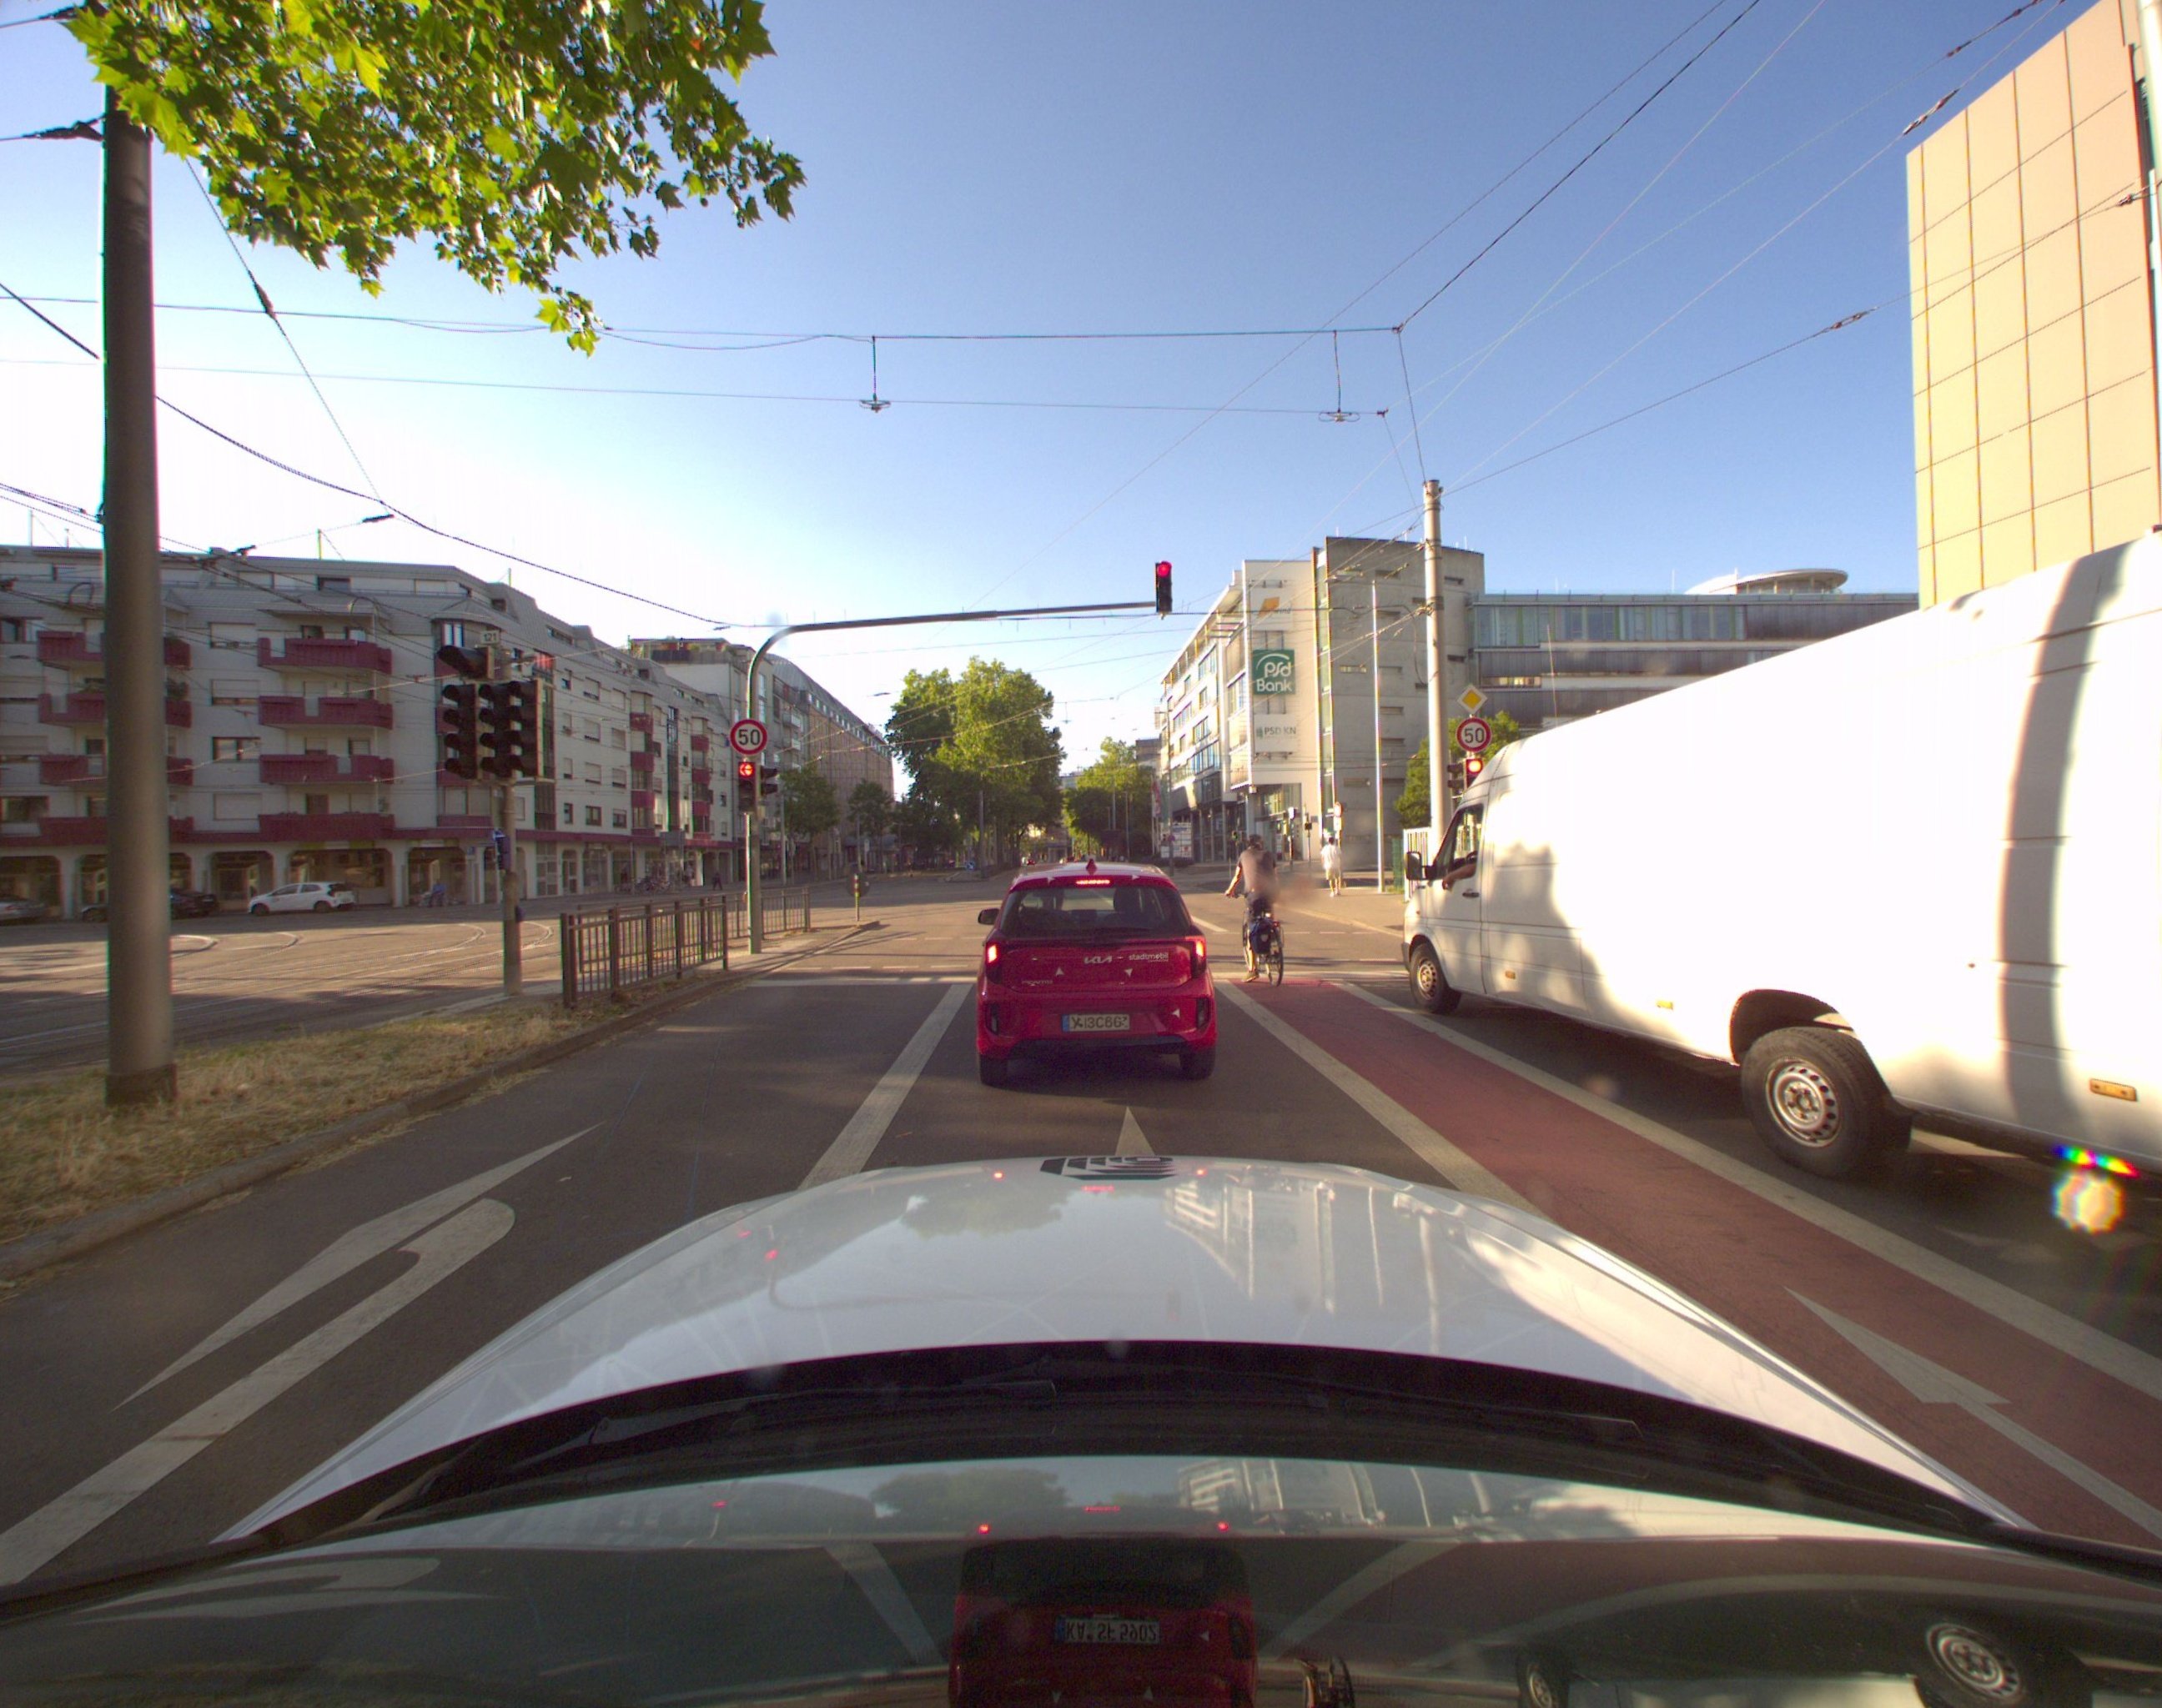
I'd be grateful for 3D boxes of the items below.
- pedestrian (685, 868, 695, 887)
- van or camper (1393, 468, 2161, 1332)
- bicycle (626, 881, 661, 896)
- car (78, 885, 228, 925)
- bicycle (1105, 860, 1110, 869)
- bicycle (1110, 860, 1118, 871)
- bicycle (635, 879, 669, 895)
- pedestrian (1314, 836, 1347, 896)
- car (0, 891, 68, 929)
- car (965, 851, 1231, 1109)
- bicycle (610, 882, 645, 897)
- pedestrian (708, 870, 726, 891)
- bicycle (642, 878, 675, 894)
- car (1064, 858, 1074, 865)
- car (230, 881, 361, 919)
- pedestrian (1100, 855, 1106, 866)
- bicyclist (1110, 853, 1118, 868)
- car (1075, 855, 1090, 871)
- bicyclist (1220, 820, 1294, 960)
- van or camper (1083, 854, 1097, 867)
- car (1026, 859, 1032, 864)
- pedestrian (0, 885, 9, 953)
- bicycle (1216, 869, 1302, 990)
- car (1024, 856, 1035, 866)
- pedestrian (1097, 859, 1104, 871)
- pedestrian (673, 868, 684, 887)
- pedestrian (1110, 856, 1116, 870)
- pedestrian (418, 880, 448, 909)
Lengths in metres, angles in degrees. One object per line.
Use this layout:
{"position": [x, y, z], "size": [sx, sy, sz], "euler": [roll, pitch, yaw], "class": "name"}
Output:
{"position": [-30.969, 1.840, 64.457], "size": [0.533, 1.494, 0.586], "euler": [-2, 0, -6], "class": "pedestrian"}
{"position": [4.323, 0.143, 5.405], "size": [1.963, 2.716, 6.301], "euler": [-1, 0, -1], "class": "van or camper"}
{"position": [-27.699, 2.167, 51.550], "size": [1.837, 0.854, 0.553], "euler": [-2, 0, -1], "class": "bicycle"}
{"position": [-42.423, 2.303, 37.345], "size": [4.112, 1.555, 1.992], "euler": [-2, 0, -12], "class": "car"}
{"position": [3.198, 1.243, 97.174], "size": [0.518, 0.975, 2.202], "euler": [-5, 0, 2], "class": "bicycle"}
{"position": [3.607, 1.218, 88.897], "size": [0.694, 1.098, 1.749], "euler": [-5, 0, -2], "class": "bicycle"}
{"position": [-27.792, 2.136, 52.819], "size": [1.840, 0.985, 0.552], "euler": [-2, 0, -6], "class": "bicycle"}
{"position": [7.854, 0.356, 25.689], "size": [0.773, 1.823, 1.219], "euler": [-2, 0, 9], "class": "pedestrian"}
{"position": [-48.597, 2.524, 35.945], "size": [4.572, 1.555, 1.992], "euler": [-2, 0, -12], "class": "car"}
{"position": [0.035, 0.767, 6.689], "size": [1.609, 1.535, 3.408], "euler": [-1, 0, -3], "class": "car"}
{"position": [-28.260, 2.197, 50.788], "size": [1.837, 0.854, 0.553], "euler": [-2, 0, -1], "class": "bicycle"}
{"position": [-26.850, 1.968, 60.048], "size": [1.036, 1.544, 0.699], "euler": [-2, 0, 28], "class": "pedestrian"}
{"position": [-27.706, 2.112, 53.433], "size": [1.840, 0.985, 0.552], "euler": [-2, 0, -6], "class": "bicycle"}
{"position": [-2.546, 1.521, 169.791], "size": [1.776, 1.535, 3.503], "euler": [-1, 0, -8], "class": "car"}
{"position": [-37.167, 2.157, 38.647], "size": [3.989, 1.555, 1.992], "euler": [-2, 0, -12], "class": "car"}
{"position": [3.511, 1.025, 129.960], "size": [0.888, 1.753, 0.841], "euler": [-2, 0, 1], "class": "pedestrian"}
{"position": [3.560, 0.750, 88.838], "size": [0.720, 1.603, 1.088], "euler": [-4, 0, -2], "class": "bicyclist"}
{"position": [0.170, 1.095, 97.671], "size": [1.631, 1.800, 3.328], "euler": [-2, 0, -1], "class": "car"}
{"position": [2.127, 0.415, 9.963], "size": [0.647, 1.603, 1.089], "euler": [-2, 0, 2], "class": "bicyclist"}
{"position": [1.456, 1.003, 132.472], "size": [1.988, 1.989, 4.741], "euler": [-1, 0, -2], "class": "van or camper"}
{"position": [-16.317, 2.301, 256.520], "size": [1.776, 1.535, 3.403], "euler": [-1, 0, -8], "class": "car"}
{"position": [-28.339, 1.703, 20.719], "size": [0.733, 1.752, 1.017], "euler": [-2, 0, -6], "class": "pedestrian"}
{"position": [2.126, 0.848, 9.985], "size": [0.647, 1.281, 1.967], "euler": [-2, 0, 2], "class": "bicycle"}
{"position": [-11.158, 1.570, 176.006], "size": [1.991, 2.013, 3.992], "euler": [-2, 0, -6], "class": "car"}
{"position": [2.696, 1.491, 114.140], "size": [0.636, 1.579, 0.728], "euler": [-5, 0, 25], "class": "pedestrian"}
{"position": [-31.732, 1.843, 64.226], "size": [0.533, 1.494, 0.586], "euler": [-2, 0, -6], "class": "pedestrian"}
{"position": [3.796, 1.102, 97.171], "size": [0.643, 1.680, 0.652], "euler": [-2, 0, 4], "class": "pedestrian"}
{"position": [-32.524, 2.041, 40.884], "size": [0.857, 1.384, 0.833], "euler": [-2, 0, -14], "class": "pedestrian"}
